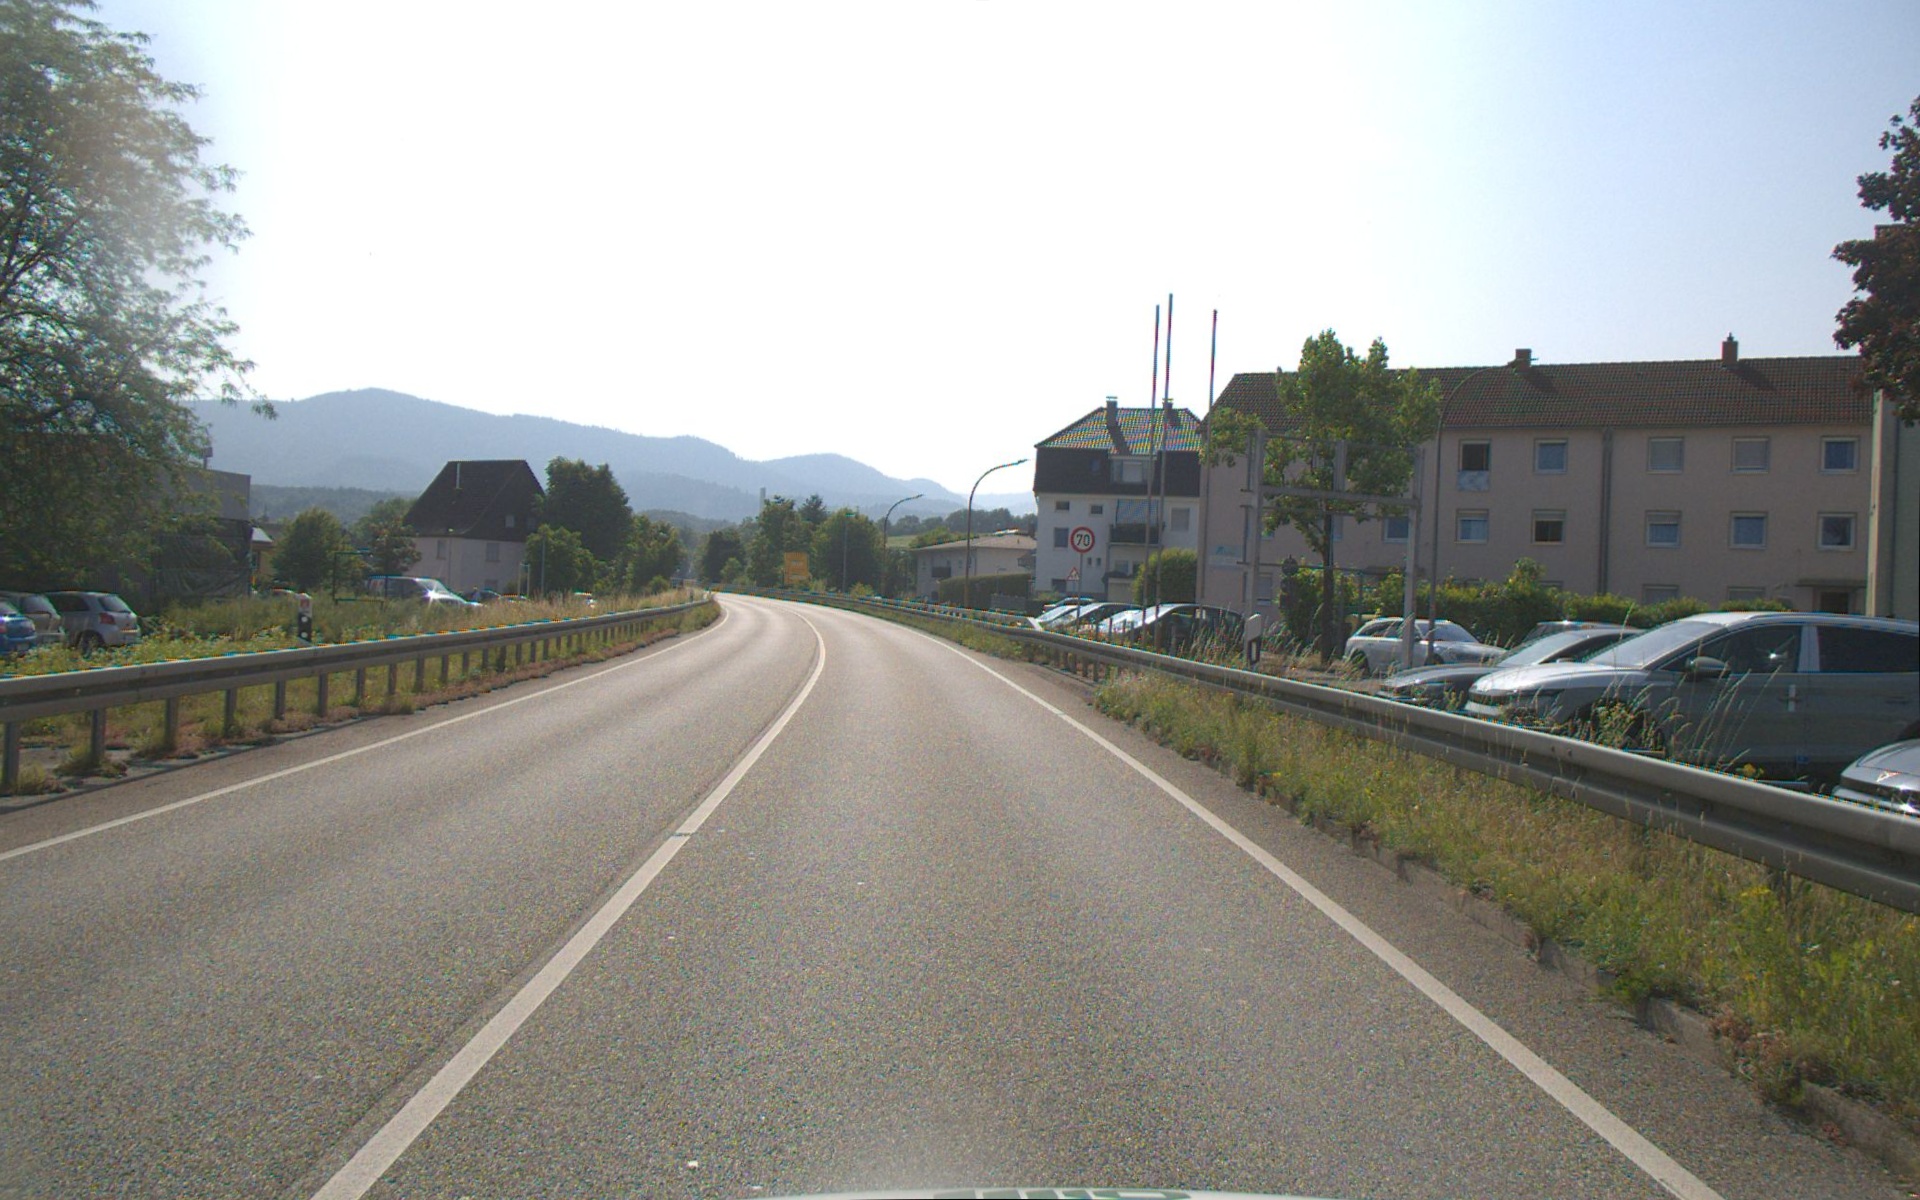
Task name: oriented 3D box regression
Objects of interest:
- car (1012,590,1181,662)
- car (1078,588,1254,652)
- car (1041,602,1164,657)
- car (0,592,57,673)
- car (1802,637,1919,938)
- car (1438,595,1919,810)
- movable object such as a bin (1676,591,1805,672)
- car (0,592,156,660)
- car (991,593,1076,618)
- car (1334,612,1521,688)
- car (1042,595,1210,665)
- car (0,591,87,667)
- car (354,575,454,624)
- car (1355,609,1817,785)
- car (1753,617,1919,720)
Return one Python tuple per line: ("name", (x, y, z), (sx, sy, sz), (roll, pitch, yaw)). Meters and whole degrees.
("car", (3.743, 0.718, 45.649), (4.166, 1.599, 1.909), (5, -2, -17))
("car", (5.106, 0.495, 40.973), (3.998, 1.477, 1.718), (1, 0, -20))
("car", (4.159, 0.855, 48.490), (3.211, 1.400, 1.542), (4, -2, -16))
("car", (-20.185, 0.573, 32.567), (3.674, 1.526, 1.930), (2, 0, -4))
("car", (6.880, 0.983, 8.566), (4.233, 1.469, 1.628), (1, 0, -2))
("car", (6.589, 0.842, 14.395), (4.230, 1.668, 2.140), (1, 0, 0))
("movable object such as a bin", (25.233, 1.001, 53.513), (3.466, 2.399, 1.578), (1, -3, 38))
("car", (-21.098, 0.593, 38.643), (3.674, 1.485, 1.860), (1, 0, -5))
("car", (4.154, 0.293, 93.482), (4.501, 1.372, 1.755), (0, 1, 20))
("car", (10.176, 1.053, 36.348), (1.756, 1.444, 4.415), (1, 1, -19))
("car", (4.327, 0.784, 43.257), (3.921, 1.474, 1.758), (5, -1, -14))
("car", (-21.088, 0.560, 35.494), (3.669, 1.526, 1.858), (2, 0, 3))
("car", (-24.859, -0.025, 73.867), (4.814, 2.049, 1.990), (2, 0, 40))
("car", (6.380, 0.958, 17.228), (4.064, 1.508, 1.882), (3, 0, 2))
("car", (14.553, 1.052, 25.904), (1.681, 1.429, 3.636), (1, 1, -24))
